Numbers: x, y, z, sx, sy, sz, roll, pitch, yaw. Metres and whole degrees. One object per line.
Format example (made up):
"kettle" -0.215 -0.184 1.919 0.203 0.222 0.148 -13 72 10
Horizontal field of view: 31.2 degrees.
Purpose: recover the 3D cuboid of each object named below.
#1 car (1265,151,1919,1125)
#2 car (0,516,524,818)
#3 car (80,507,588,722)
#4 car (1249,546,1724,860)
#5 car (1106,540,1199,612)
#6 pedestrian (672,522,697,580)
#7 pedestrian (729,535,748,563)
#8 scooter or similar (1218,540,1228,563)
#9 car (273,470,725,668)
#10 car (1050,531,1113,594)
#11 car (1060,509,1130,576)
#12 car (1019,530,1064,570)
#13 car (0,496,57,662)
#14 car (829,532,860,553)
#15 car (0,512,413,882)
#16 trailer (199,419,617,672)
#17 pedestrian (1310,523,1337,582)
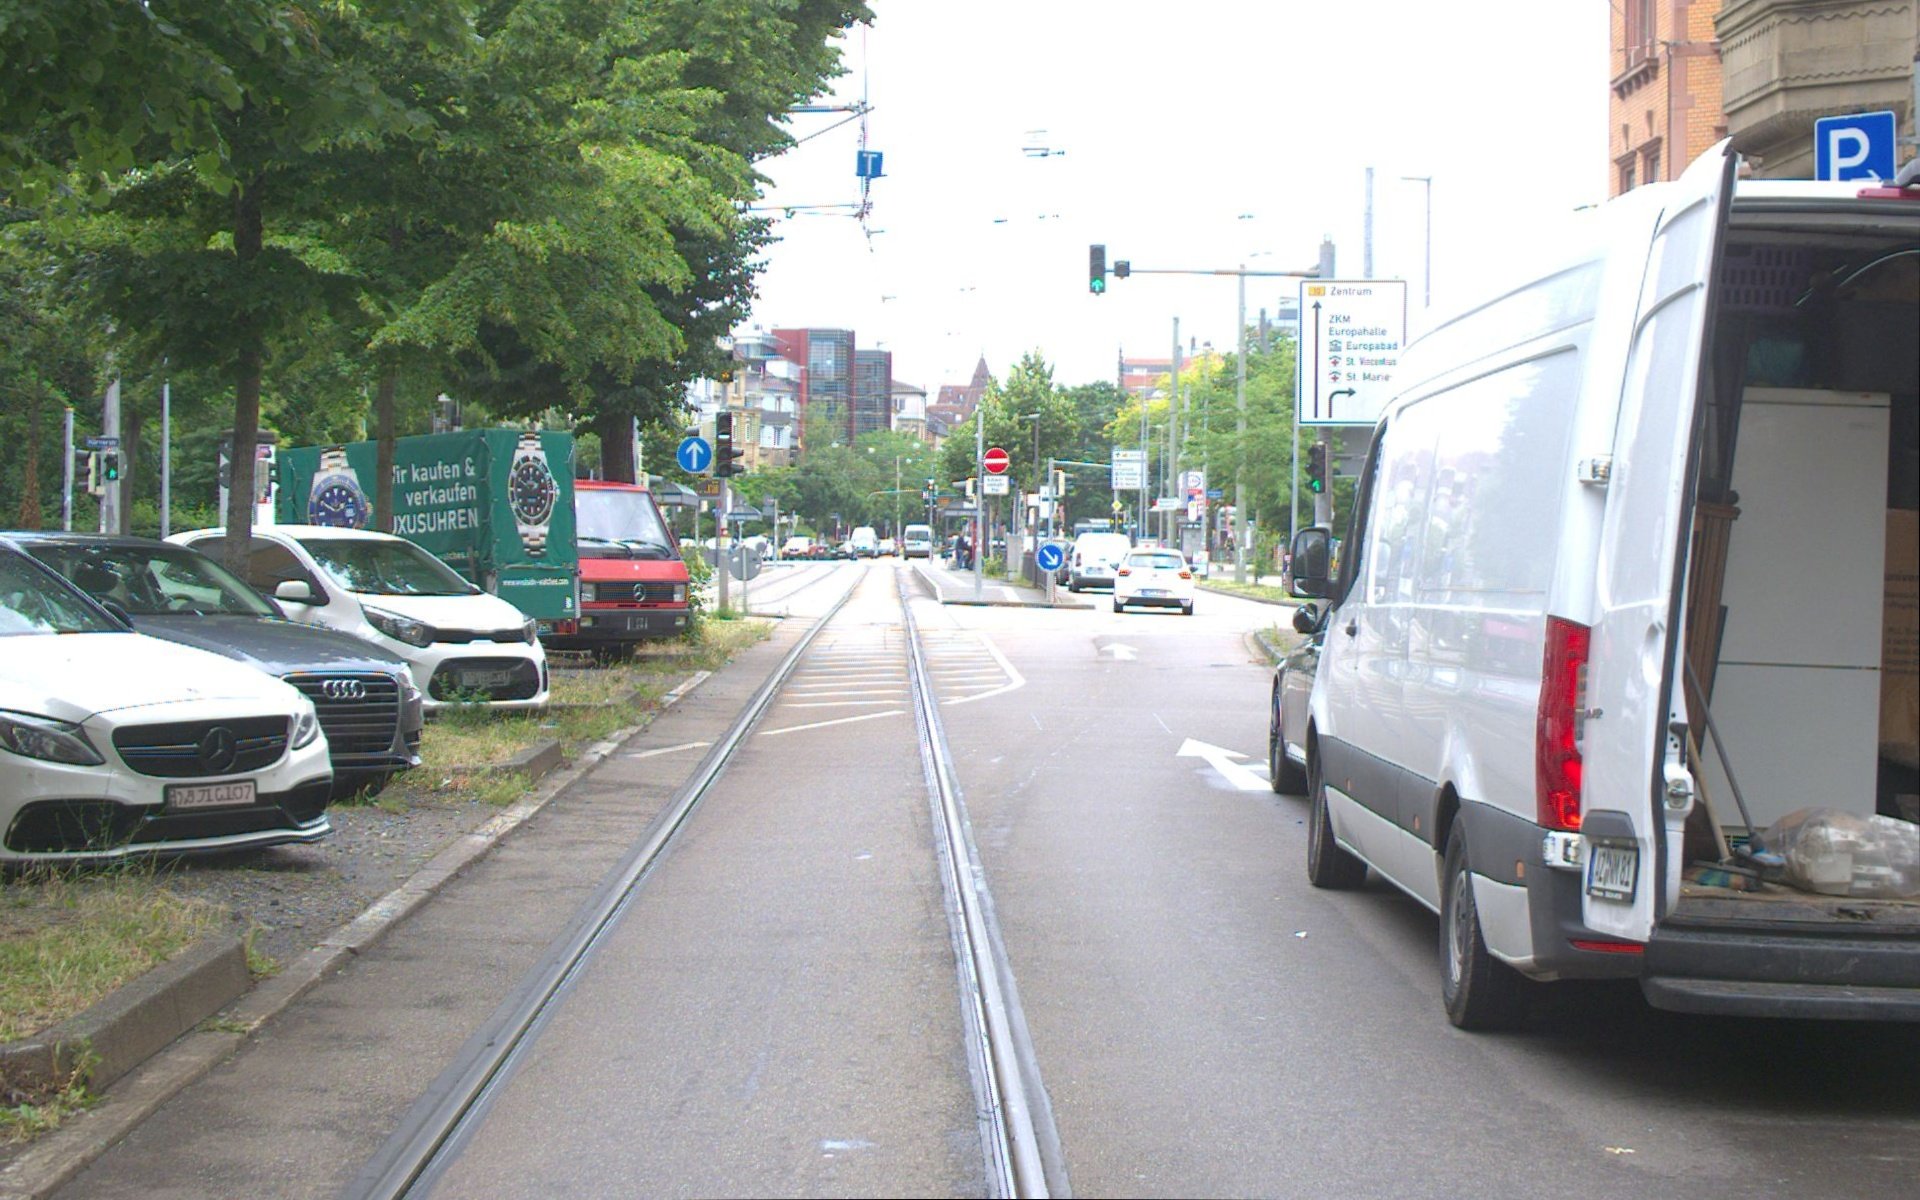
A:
"car" 2.501 0.053 12.625 2.013 2.540 7.017 2 1 0
"car" -4.523 0.271 18.572 4.337 1.430 1.894 2 2 41
"car" -4.713 0.060 25.623 3.860 1.458 1.685 2 1 41
"car" 2.744 0.456 19.038 1.824 1.445 5.007 2 1 0
"car" 4.156 -0.539 74.815 1.782 1.467 4.010 1 1 0
"pedestrian" -8.209 -1.462 102.451 0.699 1.709 0.699 0 1 -9
"pedestrian" -10.249 -2.354 158.909 0.864 1.262 0.694 0 1 -3
"scooter or similar" 12.787 -2.356 167.363 0.376 1.137 1.199 0 1 10
"car" -4.939 -0.368 36.491 4.763 1.967 1.955 1 1 38
"car" 3.927 -1.245 111.688 1.782 1.956 4.383 1 1 -1
"car" 4.055 -1.746 103.664 1.782 1.956 4.383 1 1 -2
"car" 3.548 -2.194 149.898 1.782 1.673 4.383 1 1 -1
"car" -9.494 -0.205 31.240 1.644 1.499 3.884 1 1 -2
"car" -8.471 -4.185 252.307 1.770 1.488 3.886 1 1 5
"car" -4.776 0.315 15.485 4.684 1.430 1.894 2 1 39
"trailer" -5.404 -0.551 33.591 3.666 2.336 1.927 1 1 32
"pedestrian" 11.519 -1.505 108.909 0.739 1.863 0.682 0 1 -1
